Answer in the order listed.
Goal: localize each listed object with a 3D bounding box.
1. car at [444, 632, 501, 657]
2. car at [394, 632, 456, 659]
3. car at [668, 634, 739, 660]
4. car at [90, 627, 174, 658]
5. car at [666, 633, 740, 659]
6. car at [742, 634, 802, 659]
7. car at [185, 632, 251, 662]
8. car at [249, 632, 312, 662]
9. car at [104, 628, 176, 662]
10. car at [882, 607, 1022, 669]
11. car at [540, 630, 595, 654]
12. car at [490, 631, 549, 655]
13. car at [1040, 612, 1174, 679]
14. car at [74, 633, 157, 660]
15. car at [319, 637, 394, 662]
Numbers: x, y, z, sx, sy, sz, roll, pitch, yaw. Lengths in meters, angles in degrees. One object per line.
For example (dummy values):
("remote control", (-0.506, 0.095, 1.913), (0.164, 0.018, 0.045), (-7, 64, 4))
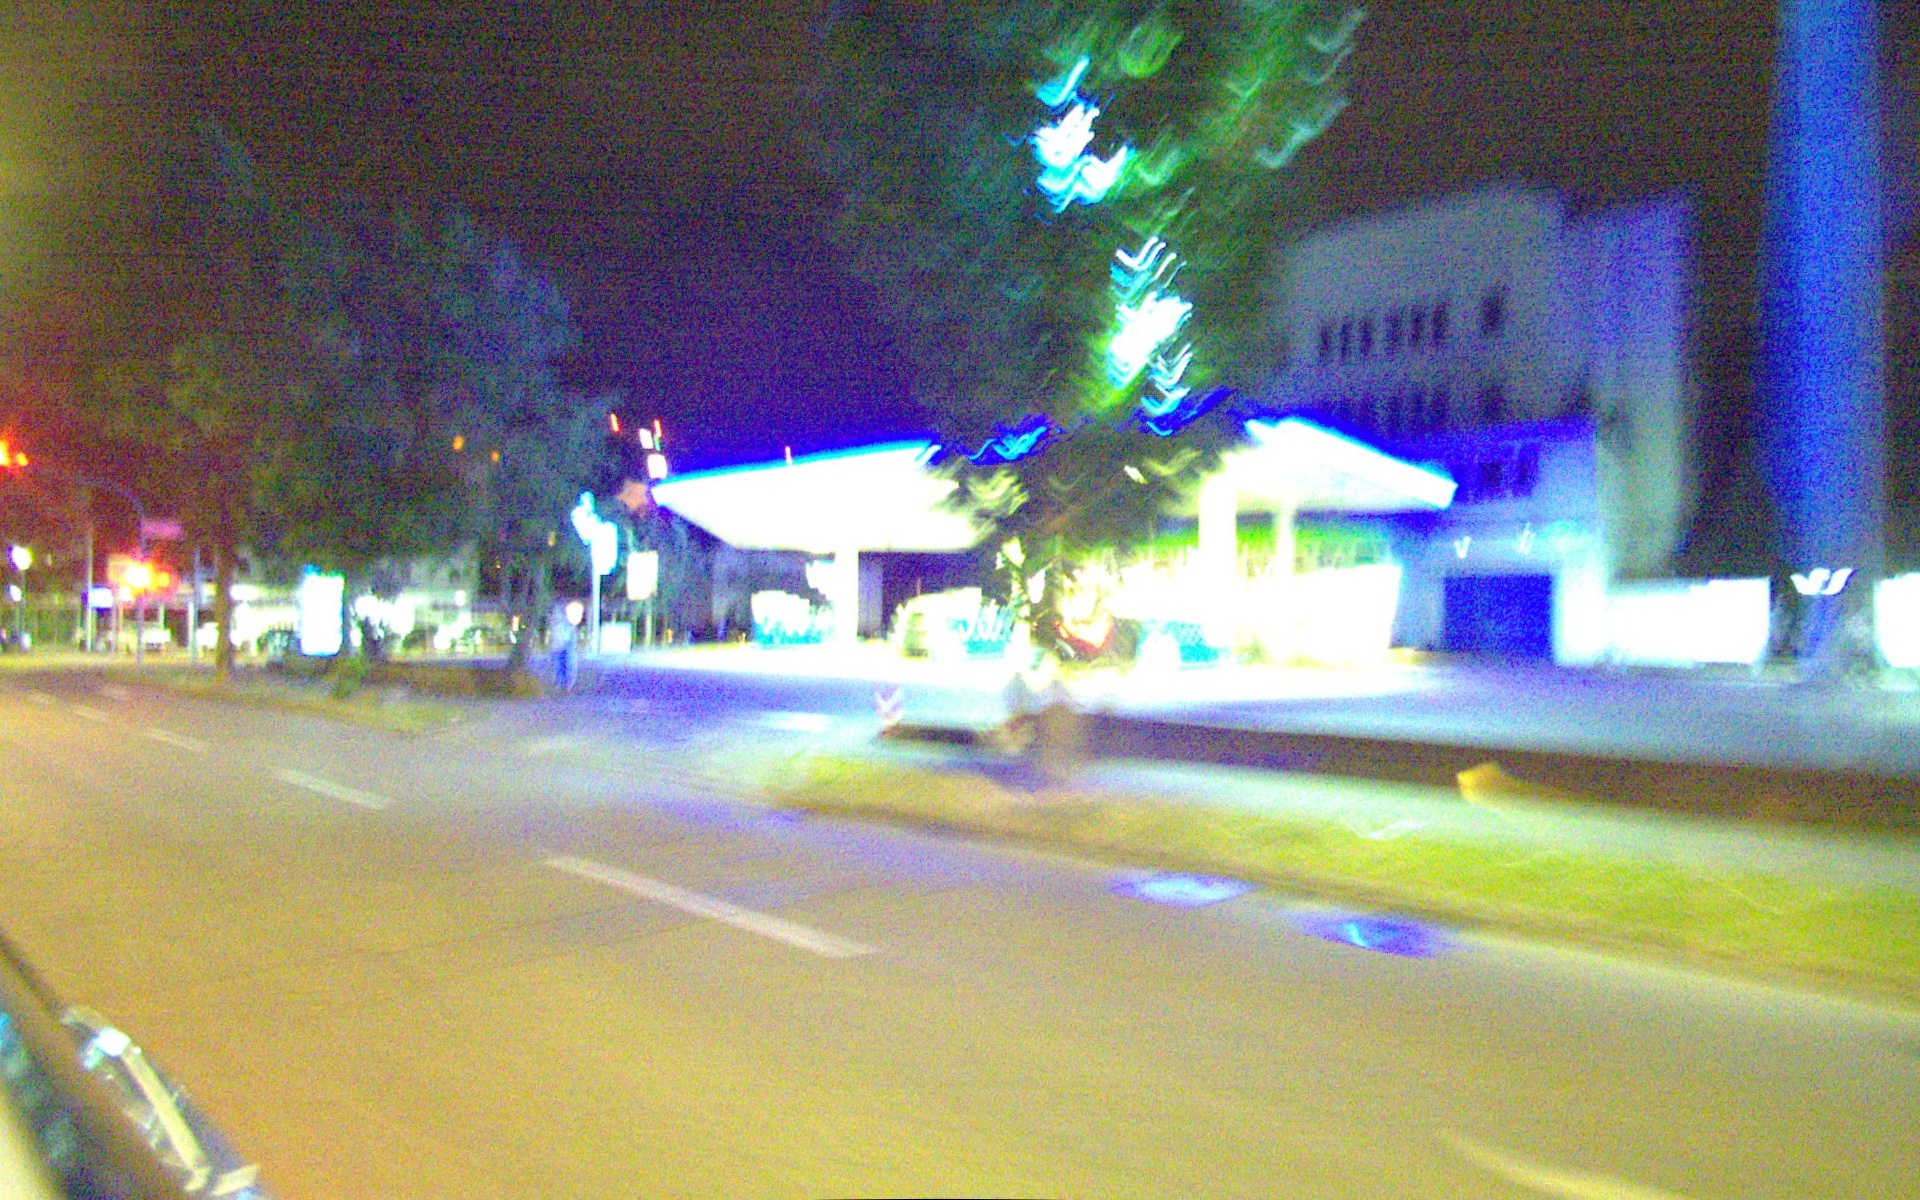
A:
("car", (-30.316, 2.723, 62.920), (4.083, 1.489, 1.710), (-1, -2, 40))
("car", (-32.257, 2.703, 60.946), (4.350, 1.489, 1.840), (-1, -1, 40))
("car", (-14.995, 2.702, 59.294), (1.735, 1.422, 3.803), (-1, -2, 39))
("car", (-48.420, 2.479, 59.247), (1.633, 1.712, 3.530), (-1, -3, 40))
("car", (-15.973, 2.857, 63.116), (1.686, 1.571, 4.256), (-2, -3, 41))
("car", (-11.790, 2.914, 63.612), (1.680, 1.422, 3.524), (-1, -1, 39))
("car", (-38.743, 2.444, 52.829), (4.067, 1.472, 1.840), (-2, -3, 40))
("car", (-37.230, 2.531, 55.395), (4.067, 1.565, 1.840), (-1, -1, 40))
("car", (-40.930, 2.210, 50.492), (4.383, 1.569, 1.974), (-1, -1, 39))
("car", (-0.171, 1.112, 30.756), (1.977, 1.740, 4.302), (-1, -2, 40))
("car", (-26.243, 2.796, 67.611), (4.024, 1.489, 1.758), (-1, -1, 40))
("car", (-28.352, 2.730, 65.100), (4.083, 1.489, 1.840), (-1, -1, 40))
("car", (3.777, 1.114, 25.586), (1.669, 1.544, 3.712), (-1, -2, 40))
("car", (-50.773, 2.790, 60.886), (1.632, 1.598, 3.531), (-1, -3, 39))
("car", (-39.019, 3.193, 65.501), (1.716, 1.489, 4.257), (-1, -1, 13))
